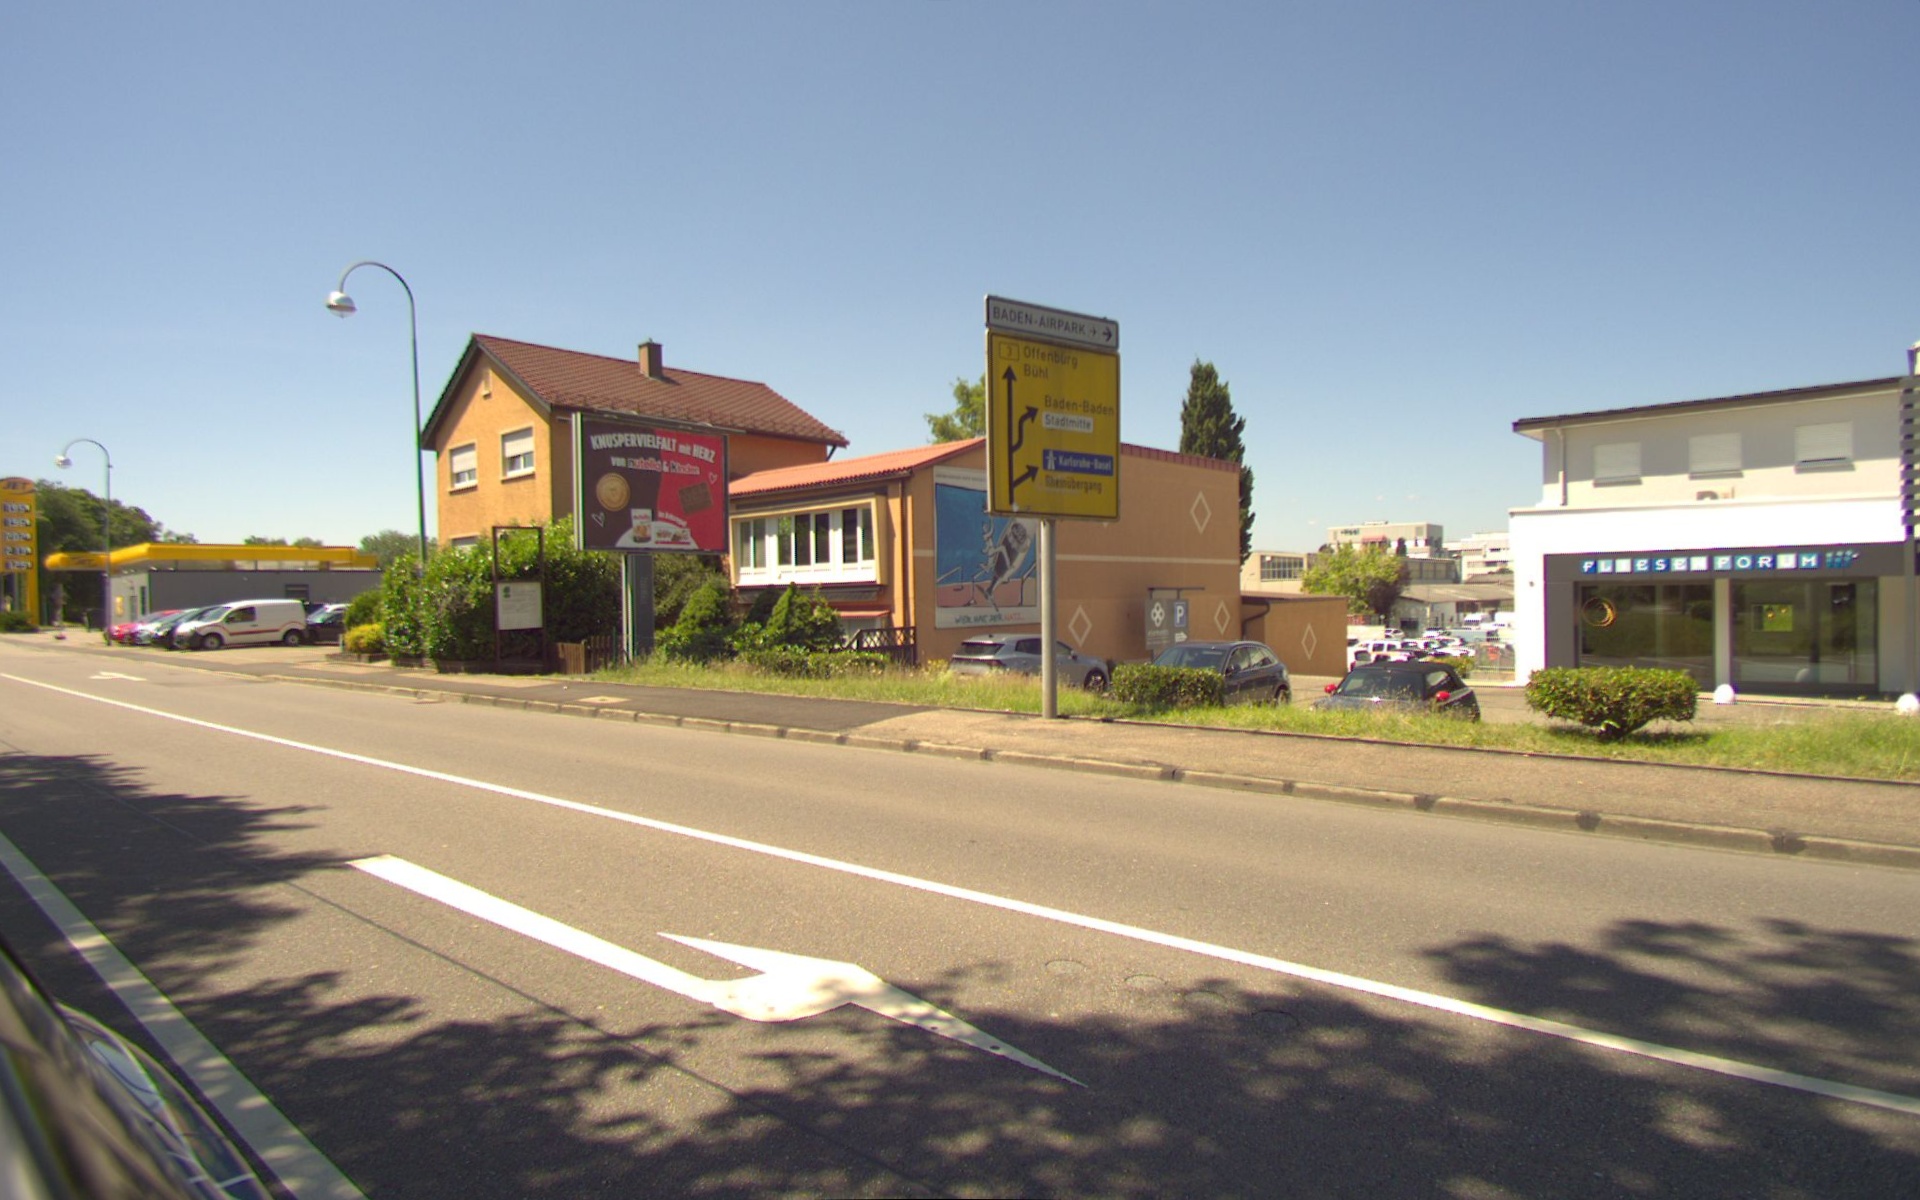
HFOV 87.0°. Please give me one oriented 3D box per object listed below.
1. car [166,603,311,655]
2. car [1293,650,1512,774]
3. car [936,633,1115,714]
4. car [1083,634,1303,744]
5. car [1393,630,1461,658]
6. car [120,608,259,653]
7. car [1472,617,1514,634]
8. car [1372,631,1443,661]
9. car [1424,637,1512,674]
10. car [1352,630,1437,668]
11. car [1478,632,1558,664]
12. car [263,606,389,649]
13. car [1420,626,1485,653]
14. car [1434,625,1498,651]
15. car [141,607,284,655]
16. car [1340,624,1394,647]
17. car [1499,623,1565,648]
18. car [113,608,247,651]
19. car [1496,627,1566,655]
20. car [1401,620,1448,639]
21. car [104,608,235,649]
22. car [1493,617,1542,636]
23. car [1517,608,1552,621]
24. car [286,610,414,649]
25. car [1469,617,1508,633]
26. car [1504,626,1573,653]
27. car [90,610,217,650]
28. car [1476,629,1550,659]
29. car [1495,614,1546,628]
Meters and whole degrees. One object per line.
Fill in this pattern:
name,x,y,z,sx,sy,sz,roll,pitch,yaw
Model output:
car,-27.542,1.061,38.748,1.871,1.883,4.143,-1,-1,35
car,7.110,1.657,16.086,4.039,1.544,1.772,0,-1,-44
car,1.597,1.634,23.630,4.165,1.621,1.773,0,-1,-42
car,4.362,1.508,18.535,4.462,1.654,1.772,0,-1,-44
car,31.114,2.882,67.431,3.774,1.768,1.707,-1,-1,44
car,-32.650,1.255,42.977,1.871,1.773,4.351,-1,-1,35
car,58.936,2.824,111.979,3.774,1.768,1.707,-3,-1,44
car,28.305,2.899,64.047,3.774,1.768,1.707,-1,-1,44
car,26.432,2.871,52.716,3.774,1.768,1.707,-1,-1,44
car,24.800,2.751,57.826,4.001,2.029,1.971,-1,-1,44
car,32.807,2.784,59.532,3.774,1.768,1.707,-1,-1,44
car,-27.958,1.177,44.768,1.871,1.839,4.351,-1,-1,35
car,34.415,2.755,70.805,3.774,1.768,1.707,-1,-1,44
car,36.457,2.730,72.923,3.774,1.768,1.707,-1,-1,44
car,-29.364,1.170,39.868,1.871,1.773,4.198,-1,-1,35
car,34.000,2.945,84.595,3.774,1.768,1.707,-1,-1,44
car,42.724,2.644,75.632,4.055,1.768,1.707,-1,-1,44
car,-34.321,1.264,44.646,1.871,1.773,4.351,-1,-1,35
car,38.147,2.710,67.672,3.774,1.768,1.707,-1,-1,44
car,44.712,2.836,97.514,3.774,1.768,1.707,-1,0,44
car,-35.823,1.240,45.957,1.871,1.773,4.351,-1,-1,35
car,53.081,2.513,96.340,3.774,1.768,1.707,-1,1,44
car,77.023,1.963,135.760,3.774,1.768,1.707,-1,-1,44
car,-26.158,1.234,43.530,1.871,1.575,4.351,-1,-1,35
car,61.538,2.890,117.884,3.774,1.768,1.707,-1,0,44
car,39.781,2.689,69.621,3.774,1.768,1.707,-1,-1,44
car,-37.886,1.385,47.638,1.871,1.773,4.351,-1,-1,35
car,34.891,2.756,63.877,3.774,1.768,1.707,-1,-1,44
car,71.779,2.634,129.619,5.303,1.768,2.037,-1,-1,44
